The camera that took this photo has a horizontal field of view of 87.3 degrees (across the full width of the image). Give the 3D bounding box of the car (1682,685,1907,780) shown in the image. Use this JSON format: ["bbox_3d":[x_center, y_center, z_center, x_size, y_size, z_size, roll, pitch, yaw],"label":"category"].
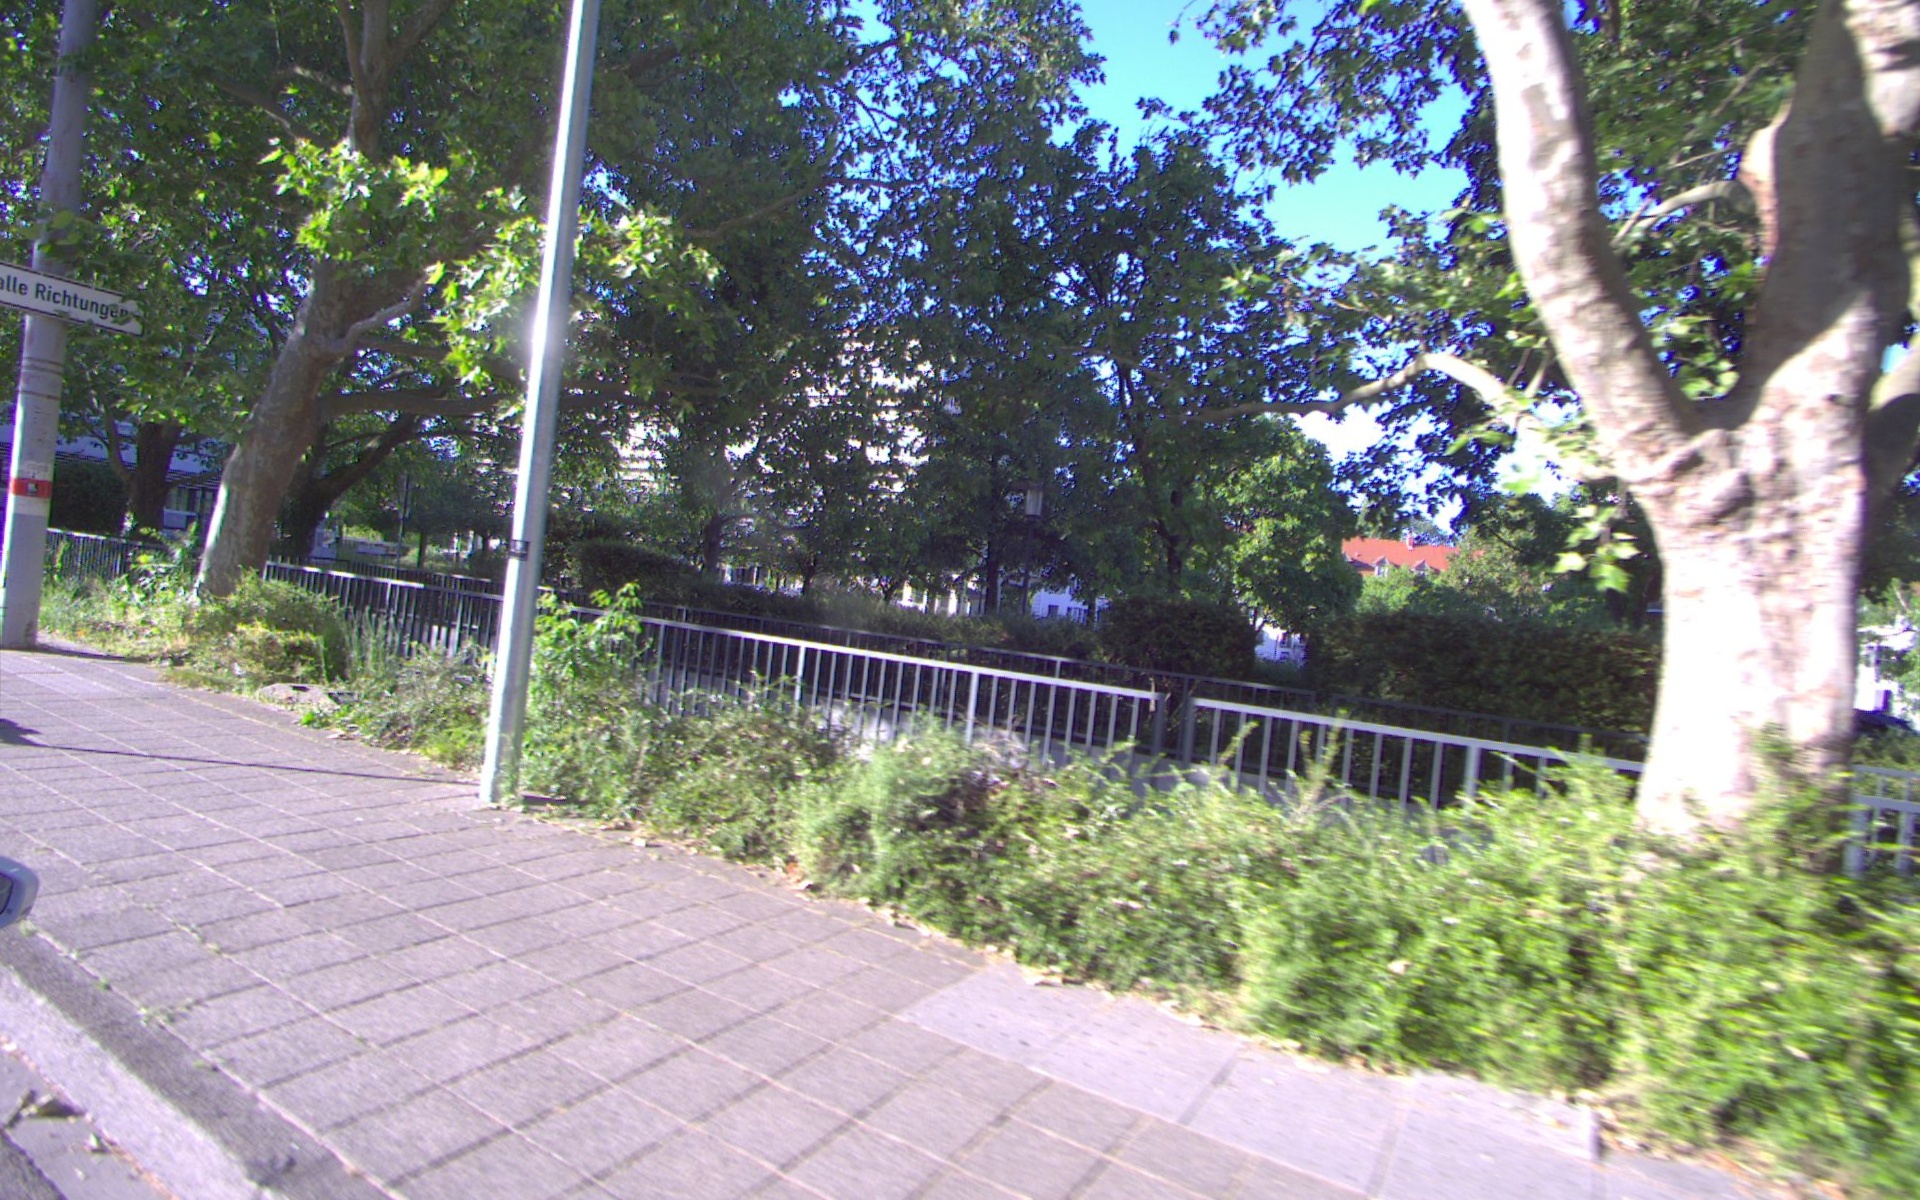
[{"bbox_3d":[20.412,3.212,24.823,3.934,1.645,1.551,7,-2,32],"label":"car"}]

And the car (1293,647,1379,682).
[{"bbox_3d":[23.365,3.976,62.507,4.580,1.492,2.012,7,-2,32],"label":"car"}]

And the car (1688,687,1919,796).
[{"bbox_3d":[17.848,2.911,20.973,3.930,1.646,1.762,6,0,27],"label":"car"}]
